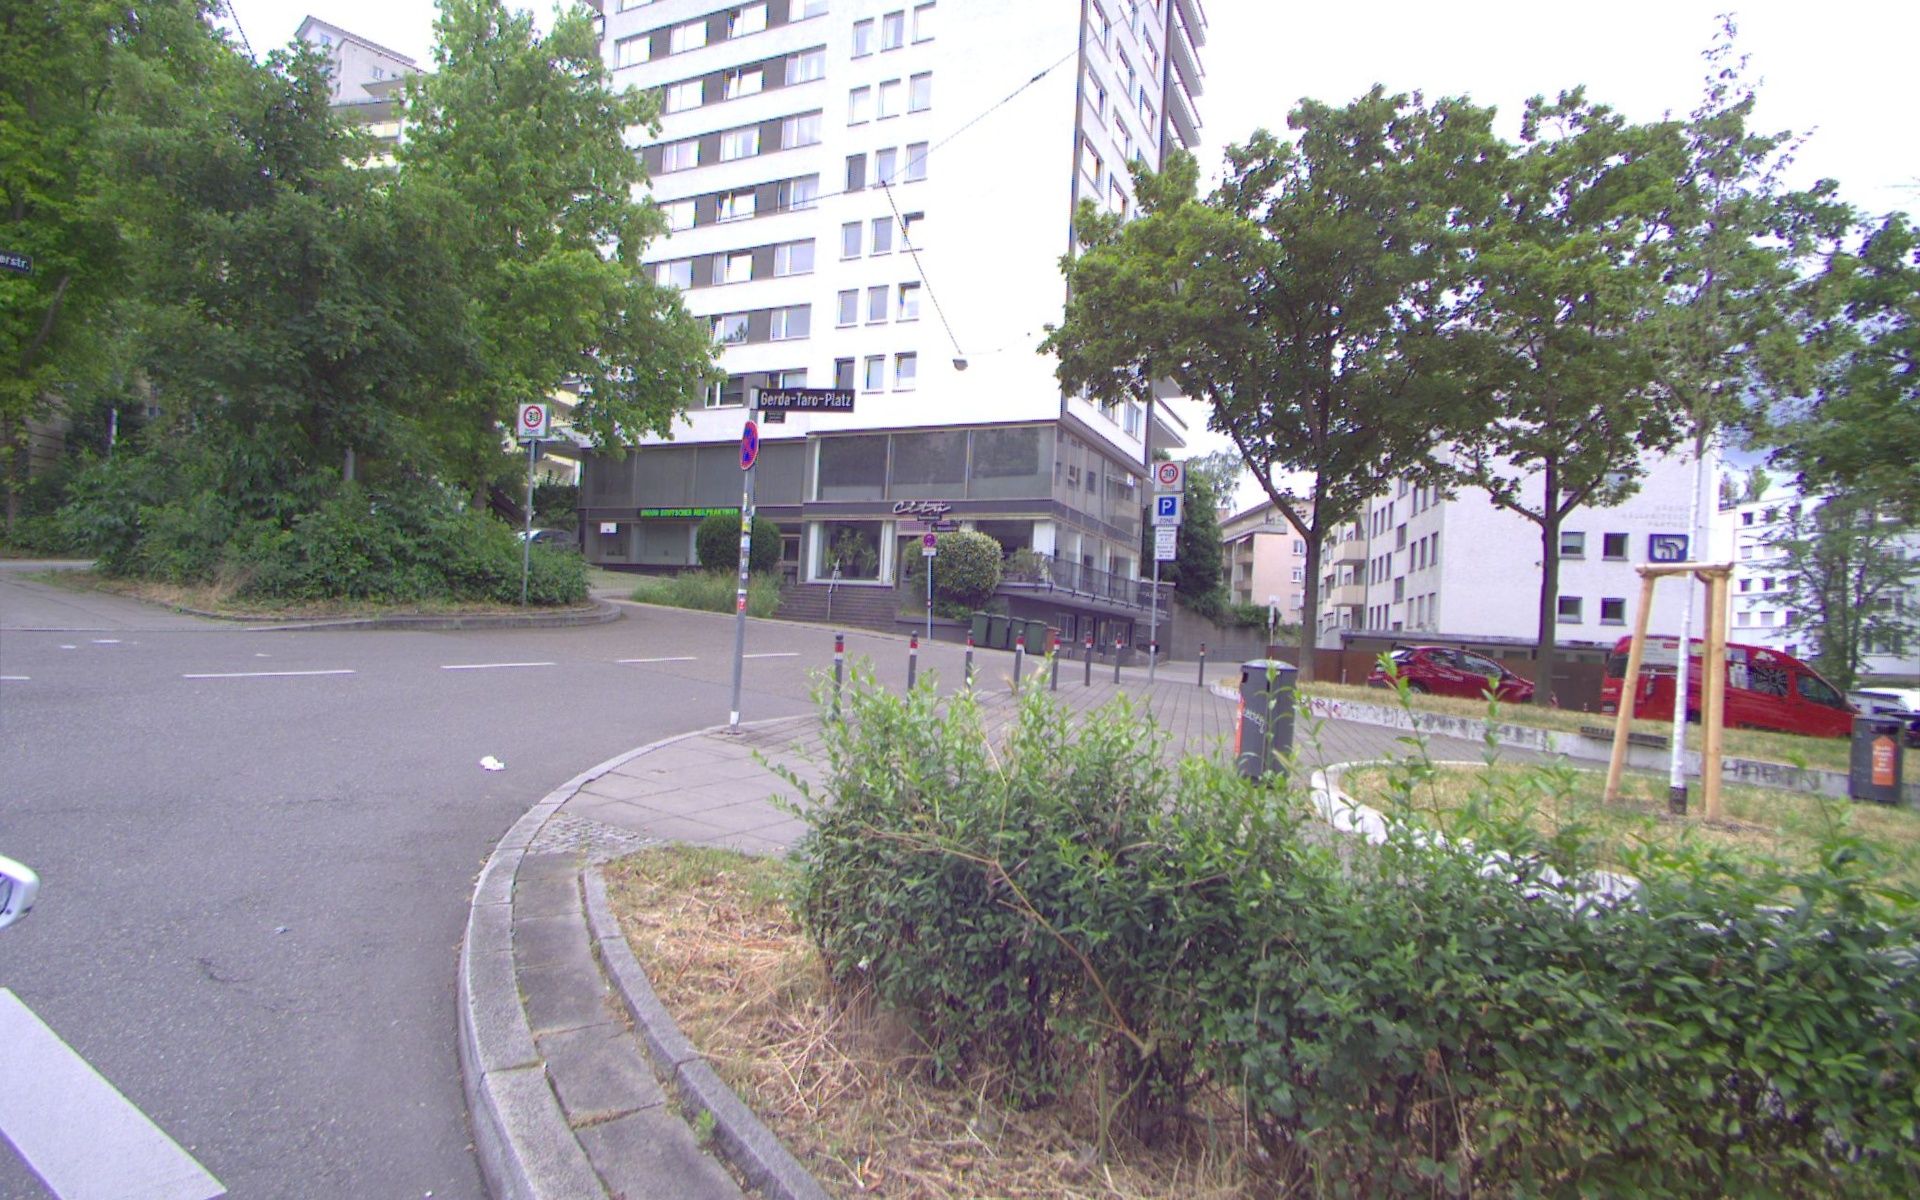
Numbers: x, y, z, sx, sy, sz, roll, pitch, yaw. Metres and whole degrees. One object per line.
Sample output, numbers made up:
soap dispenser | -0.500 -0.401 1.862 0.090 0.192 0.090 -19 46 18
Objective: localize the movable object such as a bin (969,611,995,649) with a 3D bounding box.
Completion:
movable object such as a bin | 0.688 0.927 31.127 0.599 1.092 0.554 6 1 10

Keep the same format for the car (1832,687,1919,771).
car | 22.130 3.026 21.874 4.332 1.584 2.000 7 0 4

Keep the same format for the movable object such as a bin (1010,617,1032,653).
movable object such as a bin | 1.910 1.092 31.504 0.528 1.054 0.535 6 1 10

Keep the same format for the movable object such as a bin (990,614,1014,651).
movable object such as a bin | 1.286 1.001 31.033 0.565 1.083 0.554 6 1 10

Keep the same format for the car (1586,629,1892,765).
car | 16.958 2.062 22.132 4.801 2.241 2.127 7 0 2

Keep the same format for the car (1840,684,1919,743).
car | 36.091 4.372 38.228 2.064 1.900 4.613 7 0 16

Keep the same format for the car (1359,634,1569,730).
car | 11.122 1.771 22.406 3.647 1.584 1.749 7 0 4

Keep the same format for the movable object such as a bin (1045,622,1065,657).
movable object such as a bin | 2.960 1.242 31.332 0.485 1.030 0.547 6 1 10

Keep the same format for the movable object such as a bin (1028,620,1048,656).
movable object such as a bin | 2.445 1.184 31.420 0.485 1.037 0.547 6 1 10
